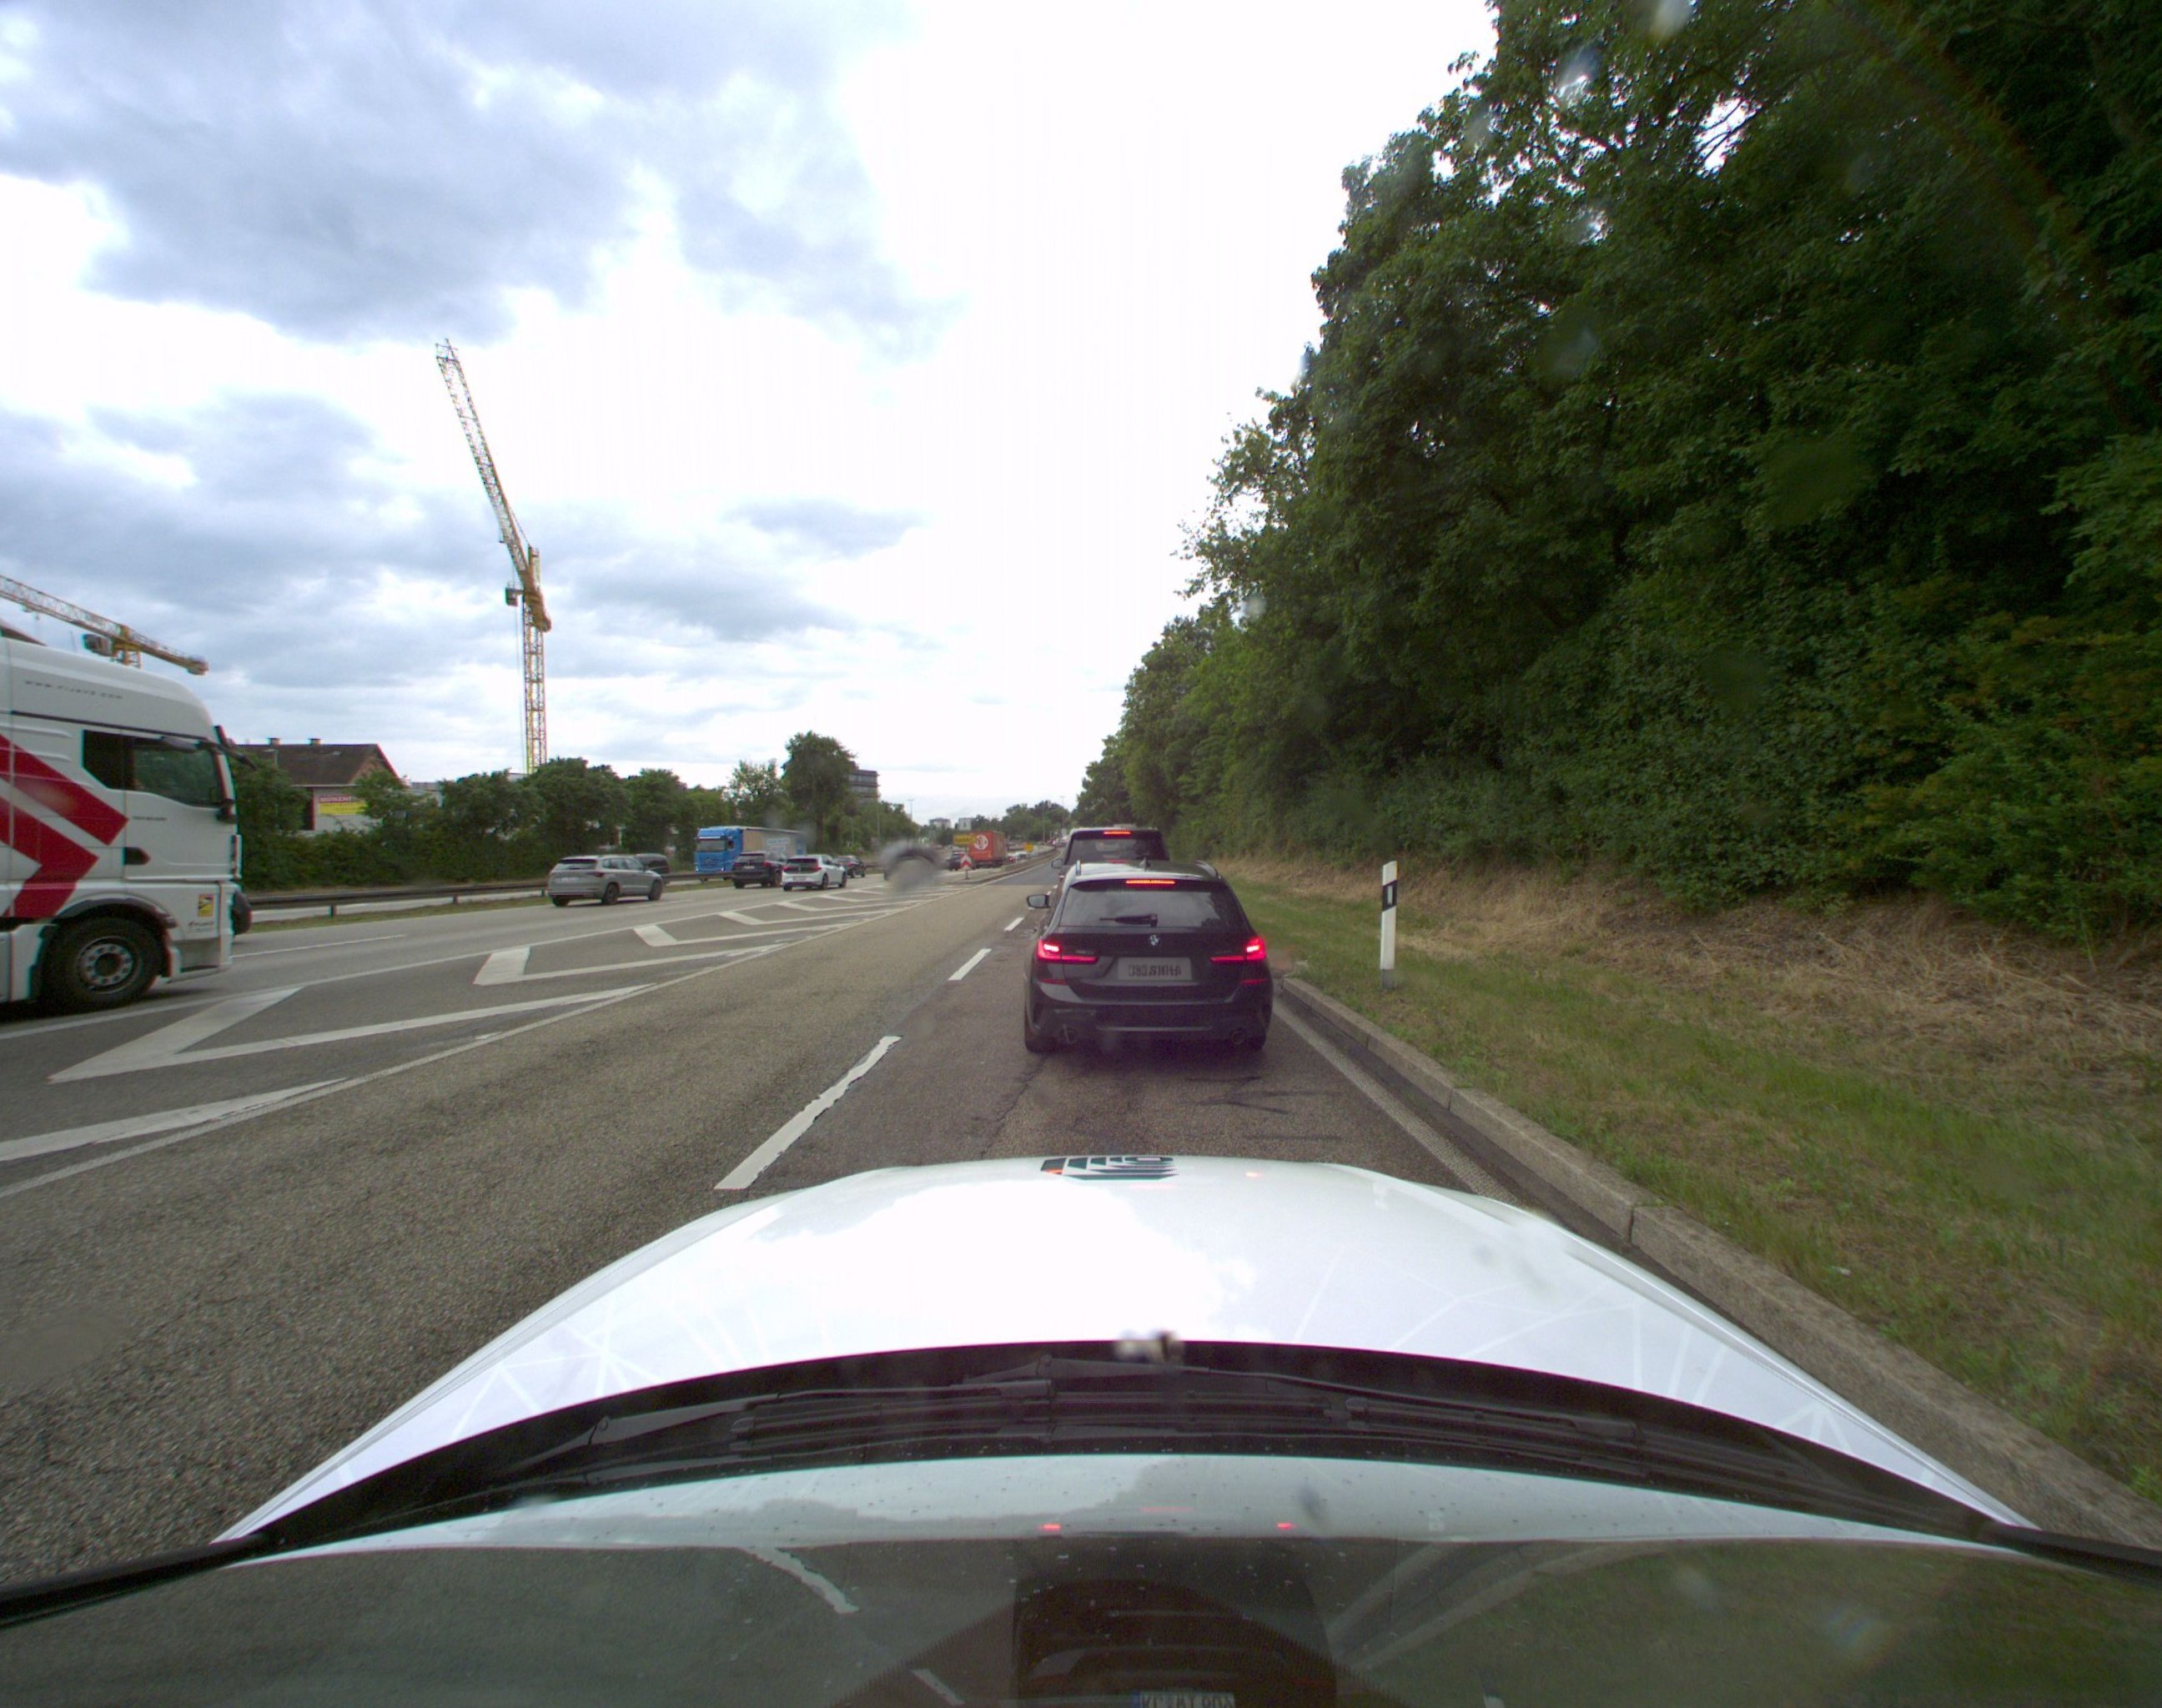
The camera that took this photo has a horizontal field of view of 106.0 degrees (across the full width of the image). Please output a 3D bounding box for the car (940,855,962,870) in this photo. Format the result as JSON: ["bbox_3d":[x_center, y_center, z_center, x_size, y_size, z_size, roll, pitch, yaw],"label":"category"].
[{"bbox_3d":[-14.723,0.993,92.398,1.853,1.618,3.999,0,0,0],"label":"car"}]

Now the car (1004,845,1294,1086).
[{"bbox_3d":[0.432,0.700,7.227,1.819,1.482,3.999,-2,0,0],"label":"car"}]

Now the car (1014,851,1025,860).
[{"bbox_3d":[-10.471,0.252,138.576,1.552,1.552,3.997,-1,0,-2],"label":"car"}]

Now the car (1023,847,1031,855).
[{"bbox_3d":[-10.636,-0.565,160.320,1.552,1.552,3.997,0,0,-2],"label":"car"}]

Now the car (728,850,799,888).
[{"bbox_3d":[-15.207,0.697,39.226,1.868,1.716,3.999,0,0,0],"label":"car"}]

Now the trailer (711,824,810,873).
[{"bbox_3d":[-26.521,-0.397,68.362,2.676,3.703,13.264,0,0,2],"label":"trailer"}]

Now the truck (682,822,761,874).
[{"bbox_3d":[-26.752,-0.400,60.989,2.761,3.710,6.640,0,0,2],"label":"truck"}]

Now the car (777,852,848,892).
[{"bbox_3d":[-11.716,0.759,35.820,1.794,1.604,4.256,0,0,-1],"label":"car"}]

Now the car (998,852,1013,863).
[{"bbox_3d":[-10.375,0.442,112.478,1.772,1.482,3.998,-1,0,-1],"label":"car"}]

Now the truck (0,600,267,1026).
[{"bbox_3d":[-11.578,-0.380,6.477,3.190,3.947,7.067,0,0,-2],"label":"truck"}]

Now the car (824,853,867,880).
[{"bbox_3d":[-15.618,0.789,54.150,1.712,1.716,3.998,0,0,-1],"label":"car"}]

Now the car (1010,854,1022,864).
[{"bbox_3d":[-9.833,0.801,123.798,1.552,1.552,3.815,0,0,-2],"label":"car"}]

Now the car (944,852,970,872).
[{"bbox_3d":[-11.433,0.762,75.149,1.855,1.816,3.998,0,0,-1],"label":"car"}]

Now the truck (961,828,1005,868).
[{"bbox_3d":[-10.859,-0.630,91.730,3.480,4.073,13.585,-2,0,-1],"label":"truck"}]

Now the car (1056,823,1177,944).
[{"bbox_3d":[0.589,0.464,14.342,1.816,1.822,4.001,0,0,1],"label":"car"}]

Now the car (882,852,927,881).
[{"bbox_3d":[-10.341,0.697,47.909,1.787,1.640,3.998,-1,0,-1],"label":"car"}]

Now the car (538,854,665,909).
[{"bbox_3d":[-15.549,0.822,26.679,1.723,1.601,3.929,-1,0,1],"label":"car"}]
